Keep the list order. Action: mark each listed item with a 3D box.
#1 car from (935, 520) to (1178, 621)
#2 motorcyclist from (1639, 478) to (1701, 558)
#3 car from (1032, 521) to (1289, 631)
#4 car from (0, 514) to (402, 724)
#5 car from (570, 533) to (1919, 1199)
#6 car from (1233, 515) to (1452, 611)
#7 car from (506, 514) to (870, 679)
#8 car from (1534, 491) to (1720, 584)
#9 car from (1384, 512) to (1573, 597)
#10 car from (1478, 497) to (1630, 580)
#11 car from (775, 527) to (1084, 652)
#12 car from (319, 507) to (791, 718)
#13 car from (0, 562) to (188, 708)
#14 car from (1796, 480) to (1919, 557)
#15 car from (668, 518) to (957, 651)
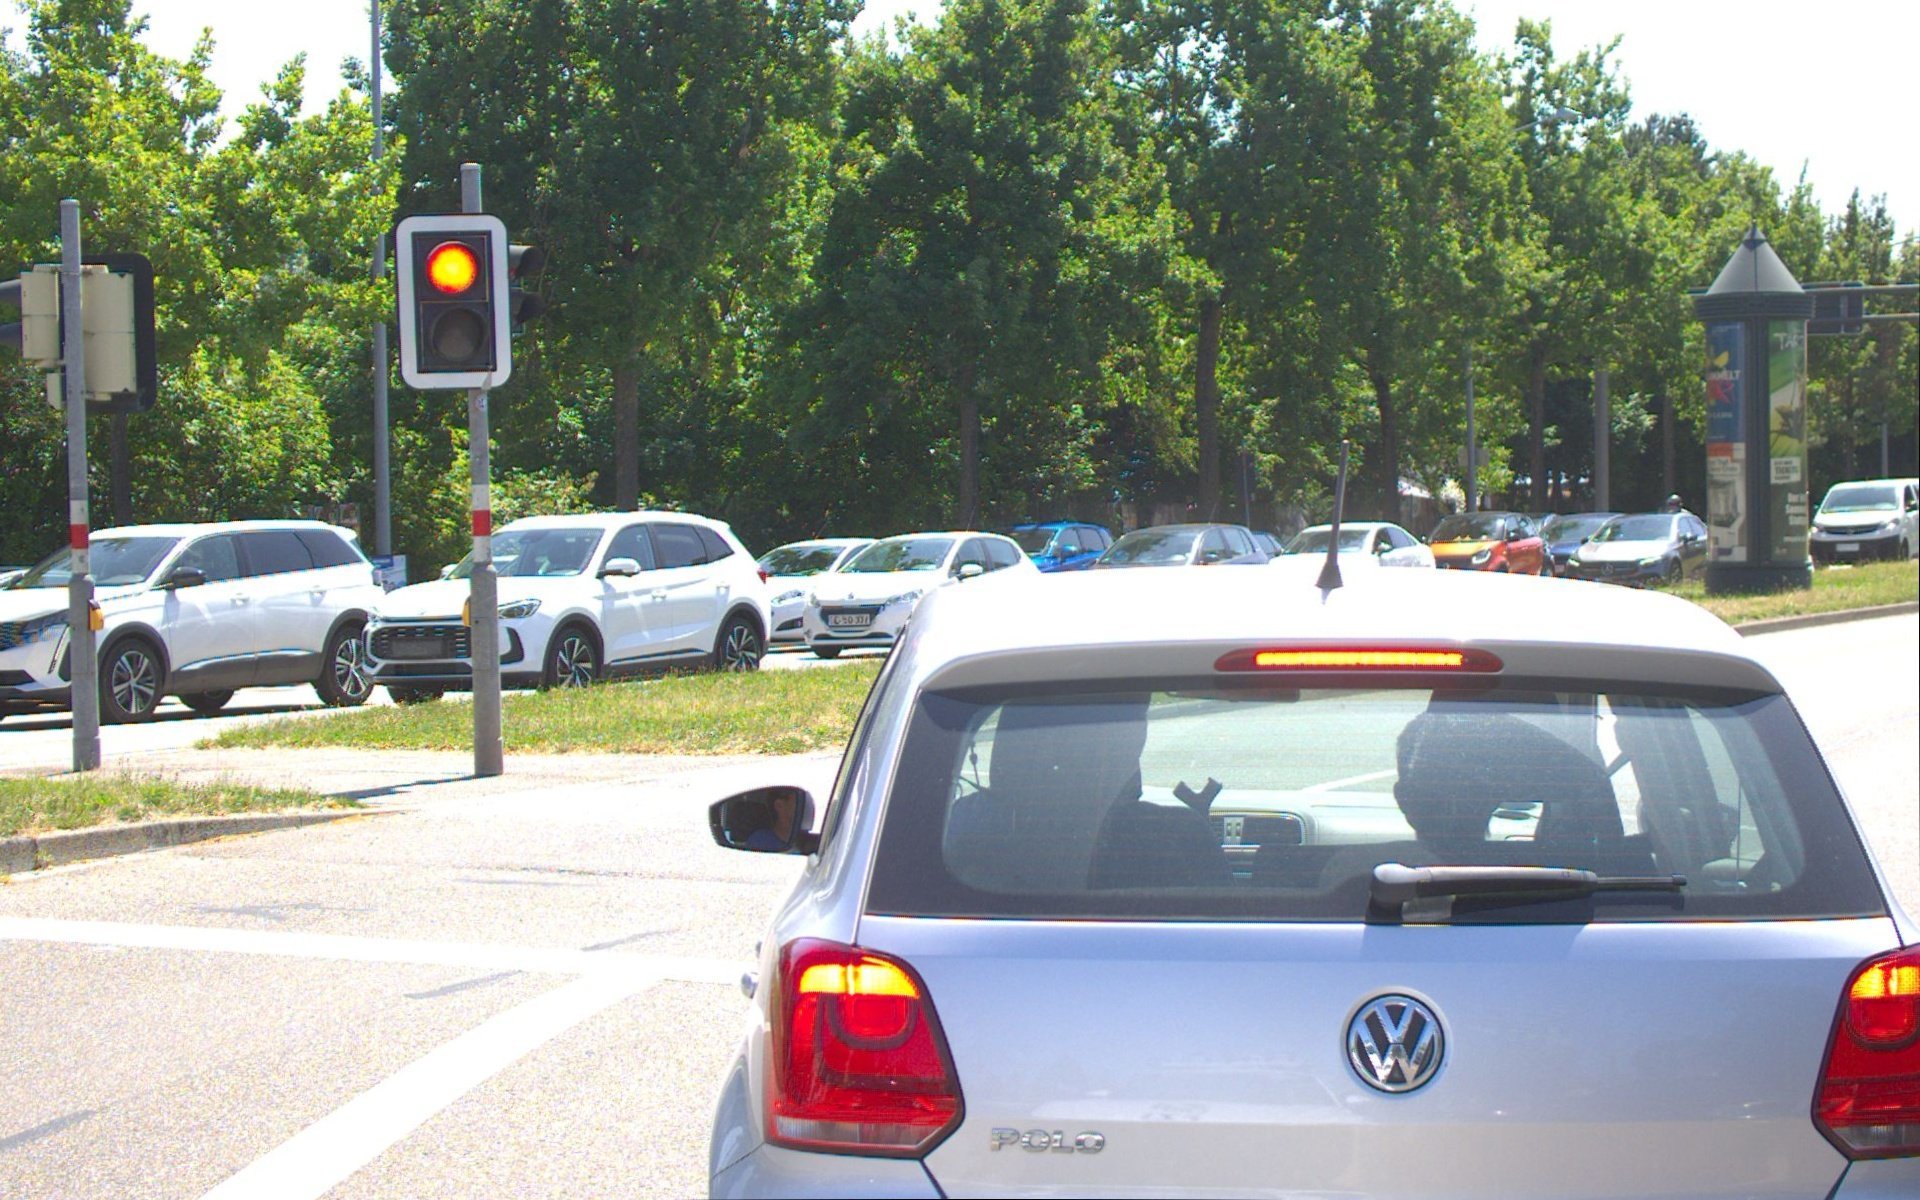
[{"bbox_3d":[1.502,-0.473,51.734,1.861,1.417,4.401,0,2,29],"label":"car"},{"bbox_3d":[14.317,-1.650,69.317,0.907,1.581,1.008,-1,0,30],"label":"motorcyclist"},{"bbox_3d":[2.844,-0.365,47.774,1.861,1.417,4.401,0,2,29],"label":"car"},{"bbox_3d":[-6.838,0.093,29.055,1.861,1.612,4.401,0,2,29],"label":"car"},{"bbox_3d":[0.499,0.626,5.652,1.776,1.417,4.000,0,2,1],"label":"car"},{"bbox_3d":[6.014,-0.603,53.623,1.861,1.417,4.401,0,2,29],"label":"car"},{"bbox_3d":[-2.903,-0.091,37.688,1.861,1.677,4.401,0,2,29],"label":"car"},{"bbox_3d":[11.191,-1.064,57.510,1.973,1.483,3.994,0,2,28],"label":"car"},{"bbox_3d":[9.078,-0.814,59.958,1.861,1.417,4.401,0,2,29],"label":"car"},{"bbox_3d":[11.141,-1.143,64.298,1.718,1.470,3.791,-1,0,27],"label":"car"},{"bbox_3d":[-0.304,-0.166,42.002,1.861,1.417,4.401,0,2,29],"label":"car"},{"bbox_3d":[-3.422,0.042,29.906,1.861,1.677,4.401,0,2,29],"label":"car"},{"bbox_3d":[-9.296,0.322,31.576,1.861,1.266,4.401,0,2,29],"label":"car"},{"bbox_3d":[18.868,-1.704,71.821,1.865,1.549,3.994,0,2,27],"label":"car"},{"bbox_3d":[-1.917,-0.250,46.163,1.861,1.677,4.401,0,2,29],"label":"car"}]
